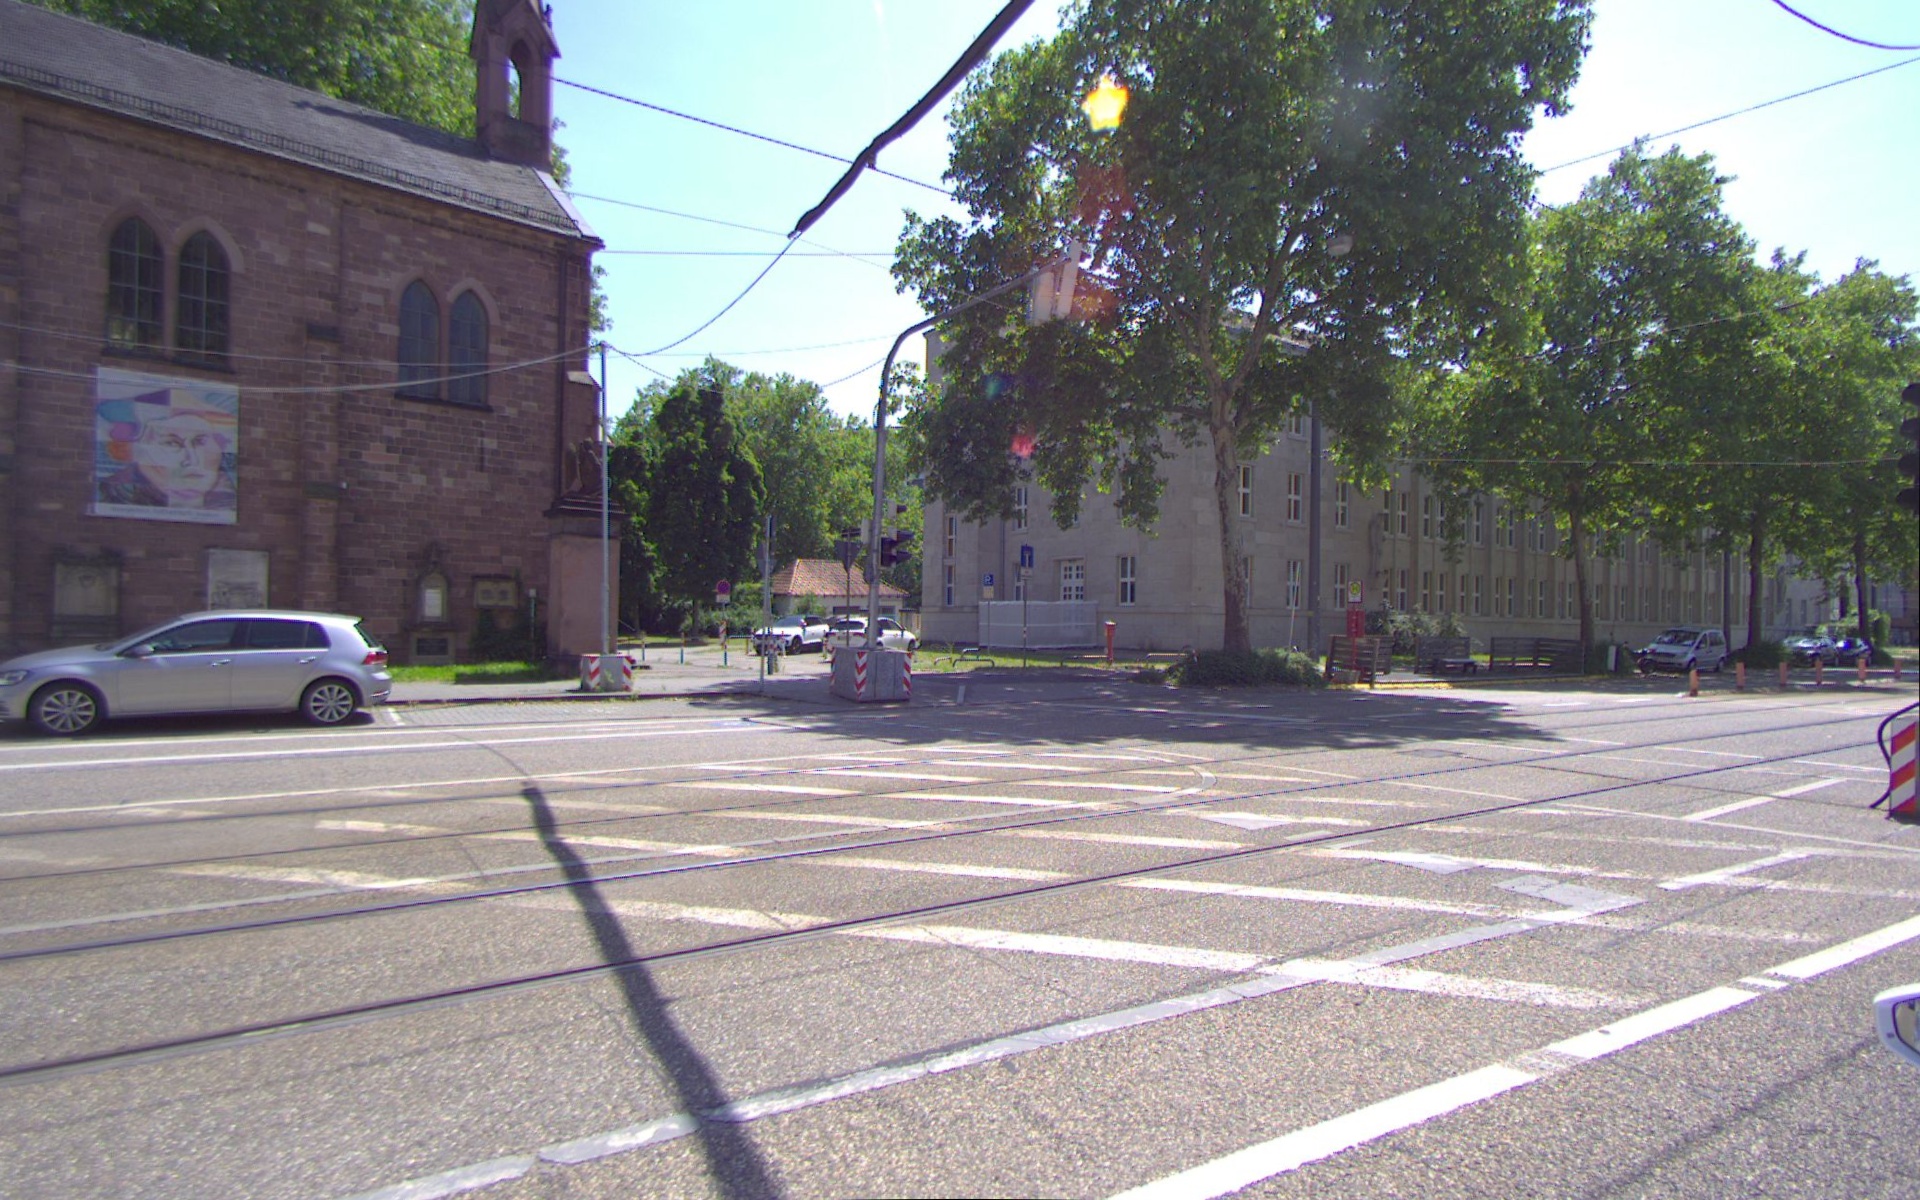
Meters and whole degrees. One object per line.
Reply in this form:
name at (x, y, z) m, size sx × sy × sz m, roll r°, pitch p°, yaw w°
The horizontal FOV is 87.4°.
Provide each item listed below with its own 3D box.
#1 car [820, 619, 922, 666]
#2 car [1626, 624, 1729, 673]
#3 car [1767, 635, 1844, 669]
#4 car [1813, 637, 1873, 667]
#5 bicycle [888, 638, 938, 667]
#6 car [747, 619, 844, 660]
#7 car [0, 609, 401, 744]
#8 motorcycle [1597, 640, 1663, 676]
car at (-3.124, 1.468, 36.222) m, size 1.877 × 1.528 × 4.535 m, roll 2°, pitch 0°, yaw 20°
car at (28.899, 1.942, 40.432) m, size 4.255 × 1.835 × 1.982 m, roll 2°, pitch 0°, yaw -33°
car at (40.697, 2.469, 48.306) m, size 4.279 × 1.503 × 1.751 m, roll 2°, pitch 0°, yaw -35°
car at (45.263, 2.648, 51.448) m, size 4.286 × 1.443 × 1.575 m, roll 2°, pitch 0°, yaw -39°
bicycle at (-1.571, 1.770, 34.029) m, size 0.633 × 0.912 × 1.902 m, roll 2°, pitch 0°, yaw 35°
car at (-6.642, 1.566, 41.021) m, size 1.877 × 1.528 × 4.535 m, roll 2°, pitch 0°, yaw 20°
car at (-9.736, 0.919, 13.043) m, size 4.179 × 1.478 × 1.647 m, roll 2°, pitch 0°, yaw -35°
motorcycle at (25.075, 2.164, 37.629) m, size 1.837 × 1.082 × 0.727 m, roll 7°, pitch 2°, yaw 25°
